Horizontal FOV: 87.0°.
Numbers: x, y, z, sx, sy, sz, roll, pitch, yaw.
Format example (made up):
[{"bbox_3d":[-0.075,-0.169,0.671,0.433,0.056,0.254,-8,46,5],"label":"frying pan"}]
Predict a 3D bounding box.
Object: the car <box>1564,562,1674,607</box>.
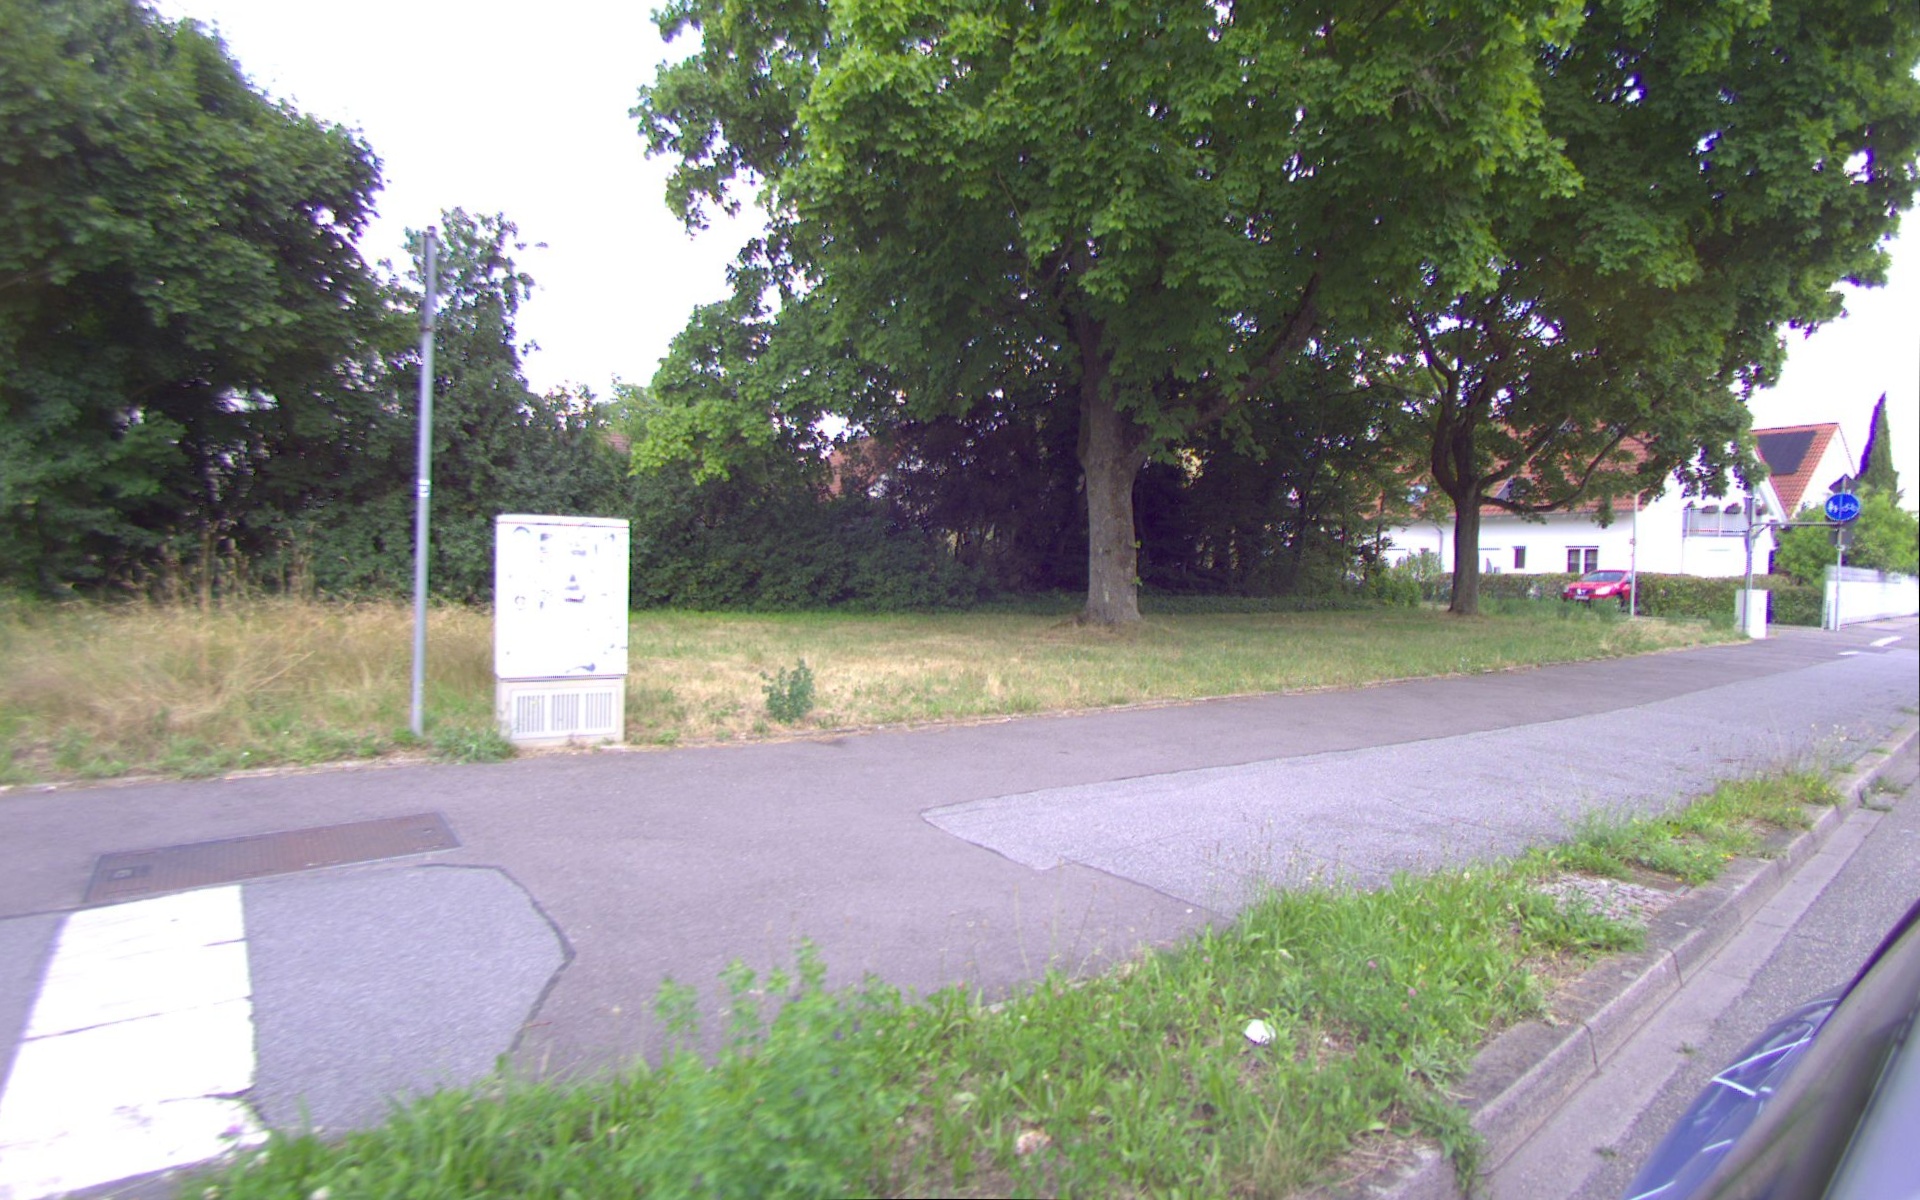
[{"bbox_3d":[24.532,-0.574,37.653,4.306,1.549,1.684,0,2,-31],"label":"car"}]
